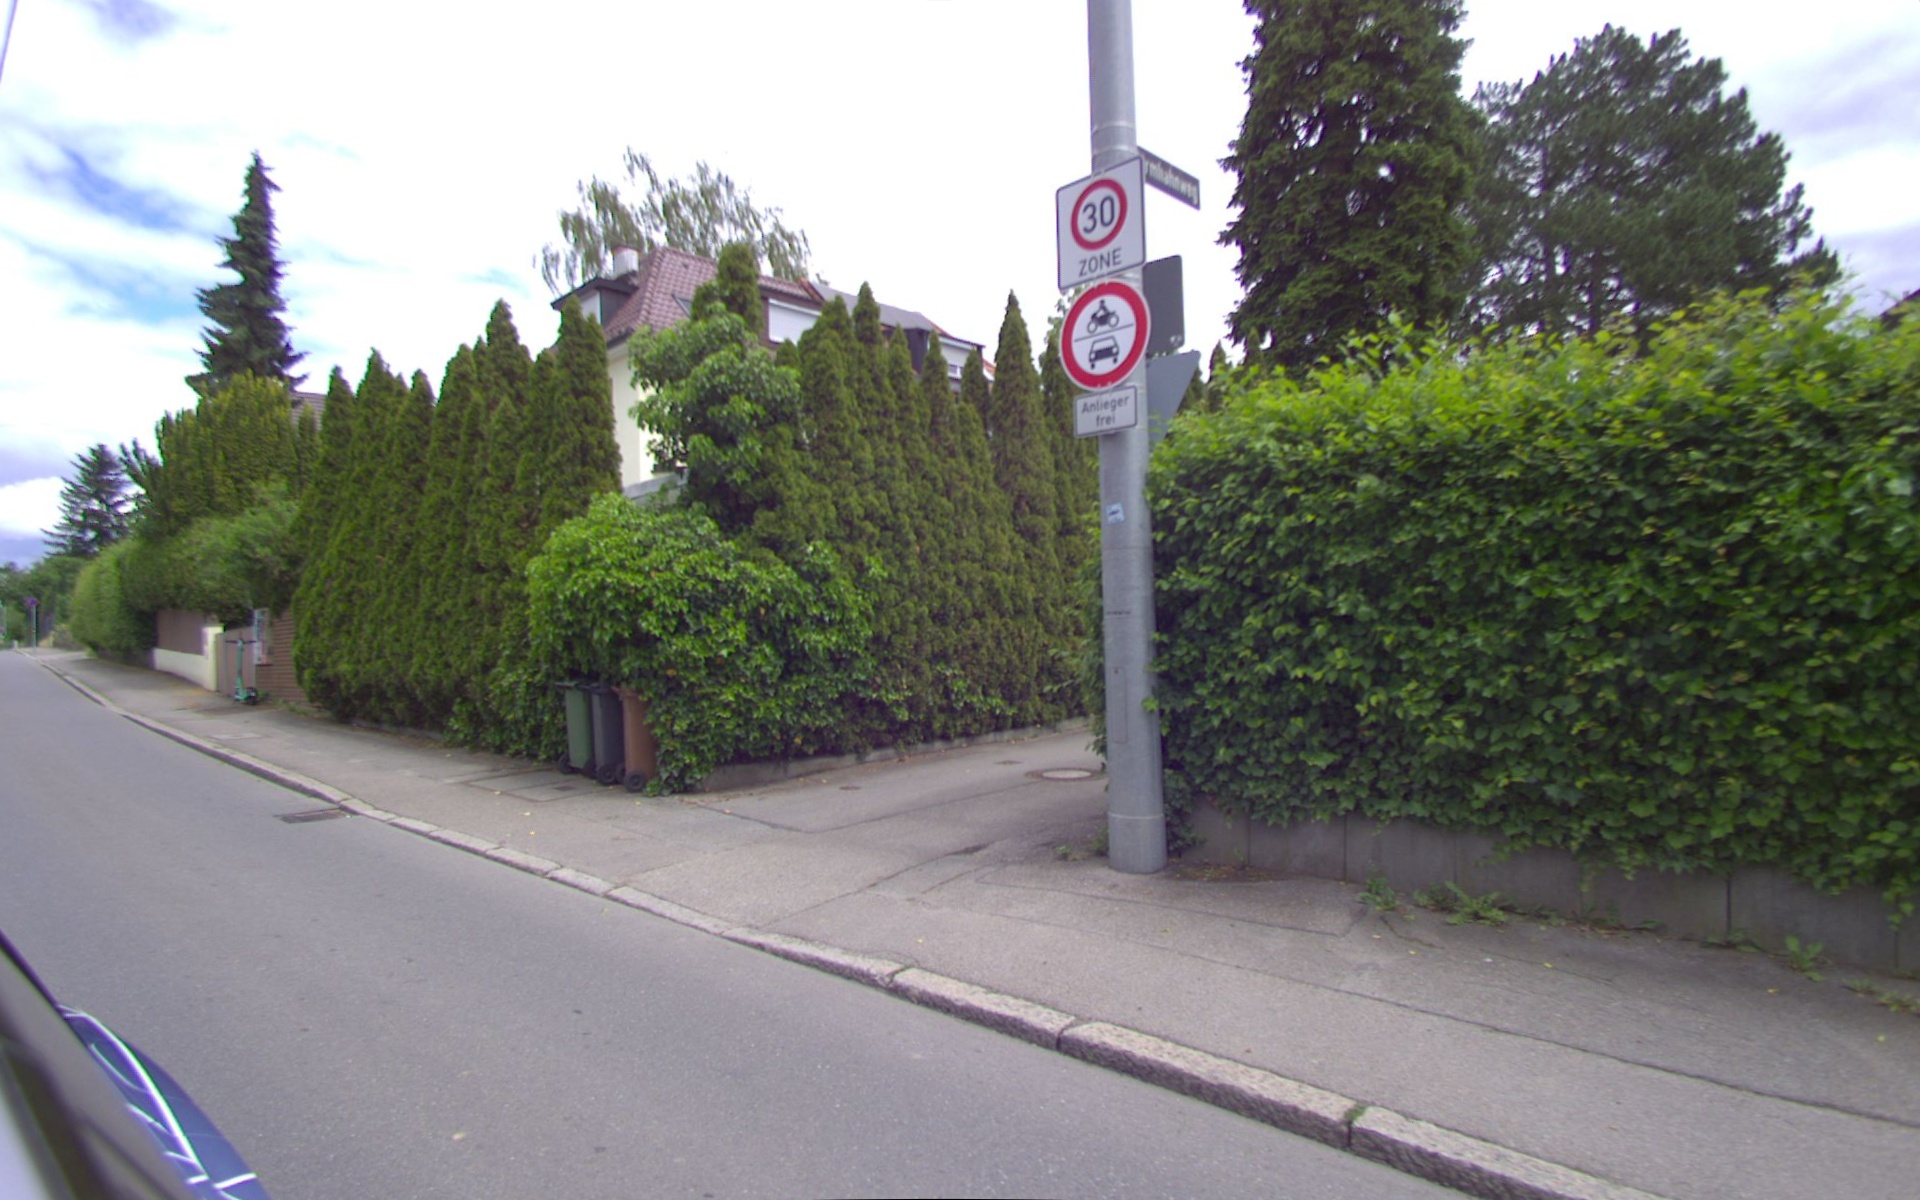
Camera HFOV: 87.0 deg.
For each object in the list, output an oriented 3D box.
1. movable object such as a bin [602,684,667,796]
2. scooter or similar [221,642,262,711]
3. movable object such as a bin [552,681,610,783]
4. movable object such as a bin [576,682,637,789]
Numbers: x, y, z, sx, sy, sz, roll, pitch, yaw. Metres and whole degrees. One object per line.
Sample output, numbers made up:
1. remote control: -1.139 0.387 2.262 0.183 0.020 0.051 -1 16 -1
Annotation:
1. movable object such as a bin: -2.842 1.207 8.828 0.332 0.900 0.476 -2 0 -44
2. scooter or similar: -13.106 1.375 18.451 1.270 1.180 0.387 -2 -1 44
3. movable object such as a bin: -3.589 1.234 9.581 0.332 0.900 0.476 -2 0 -44
4. movable object such as a bin: -3.213 1.213 9.201 0.332 0.900 0.476 -2 0 -44
